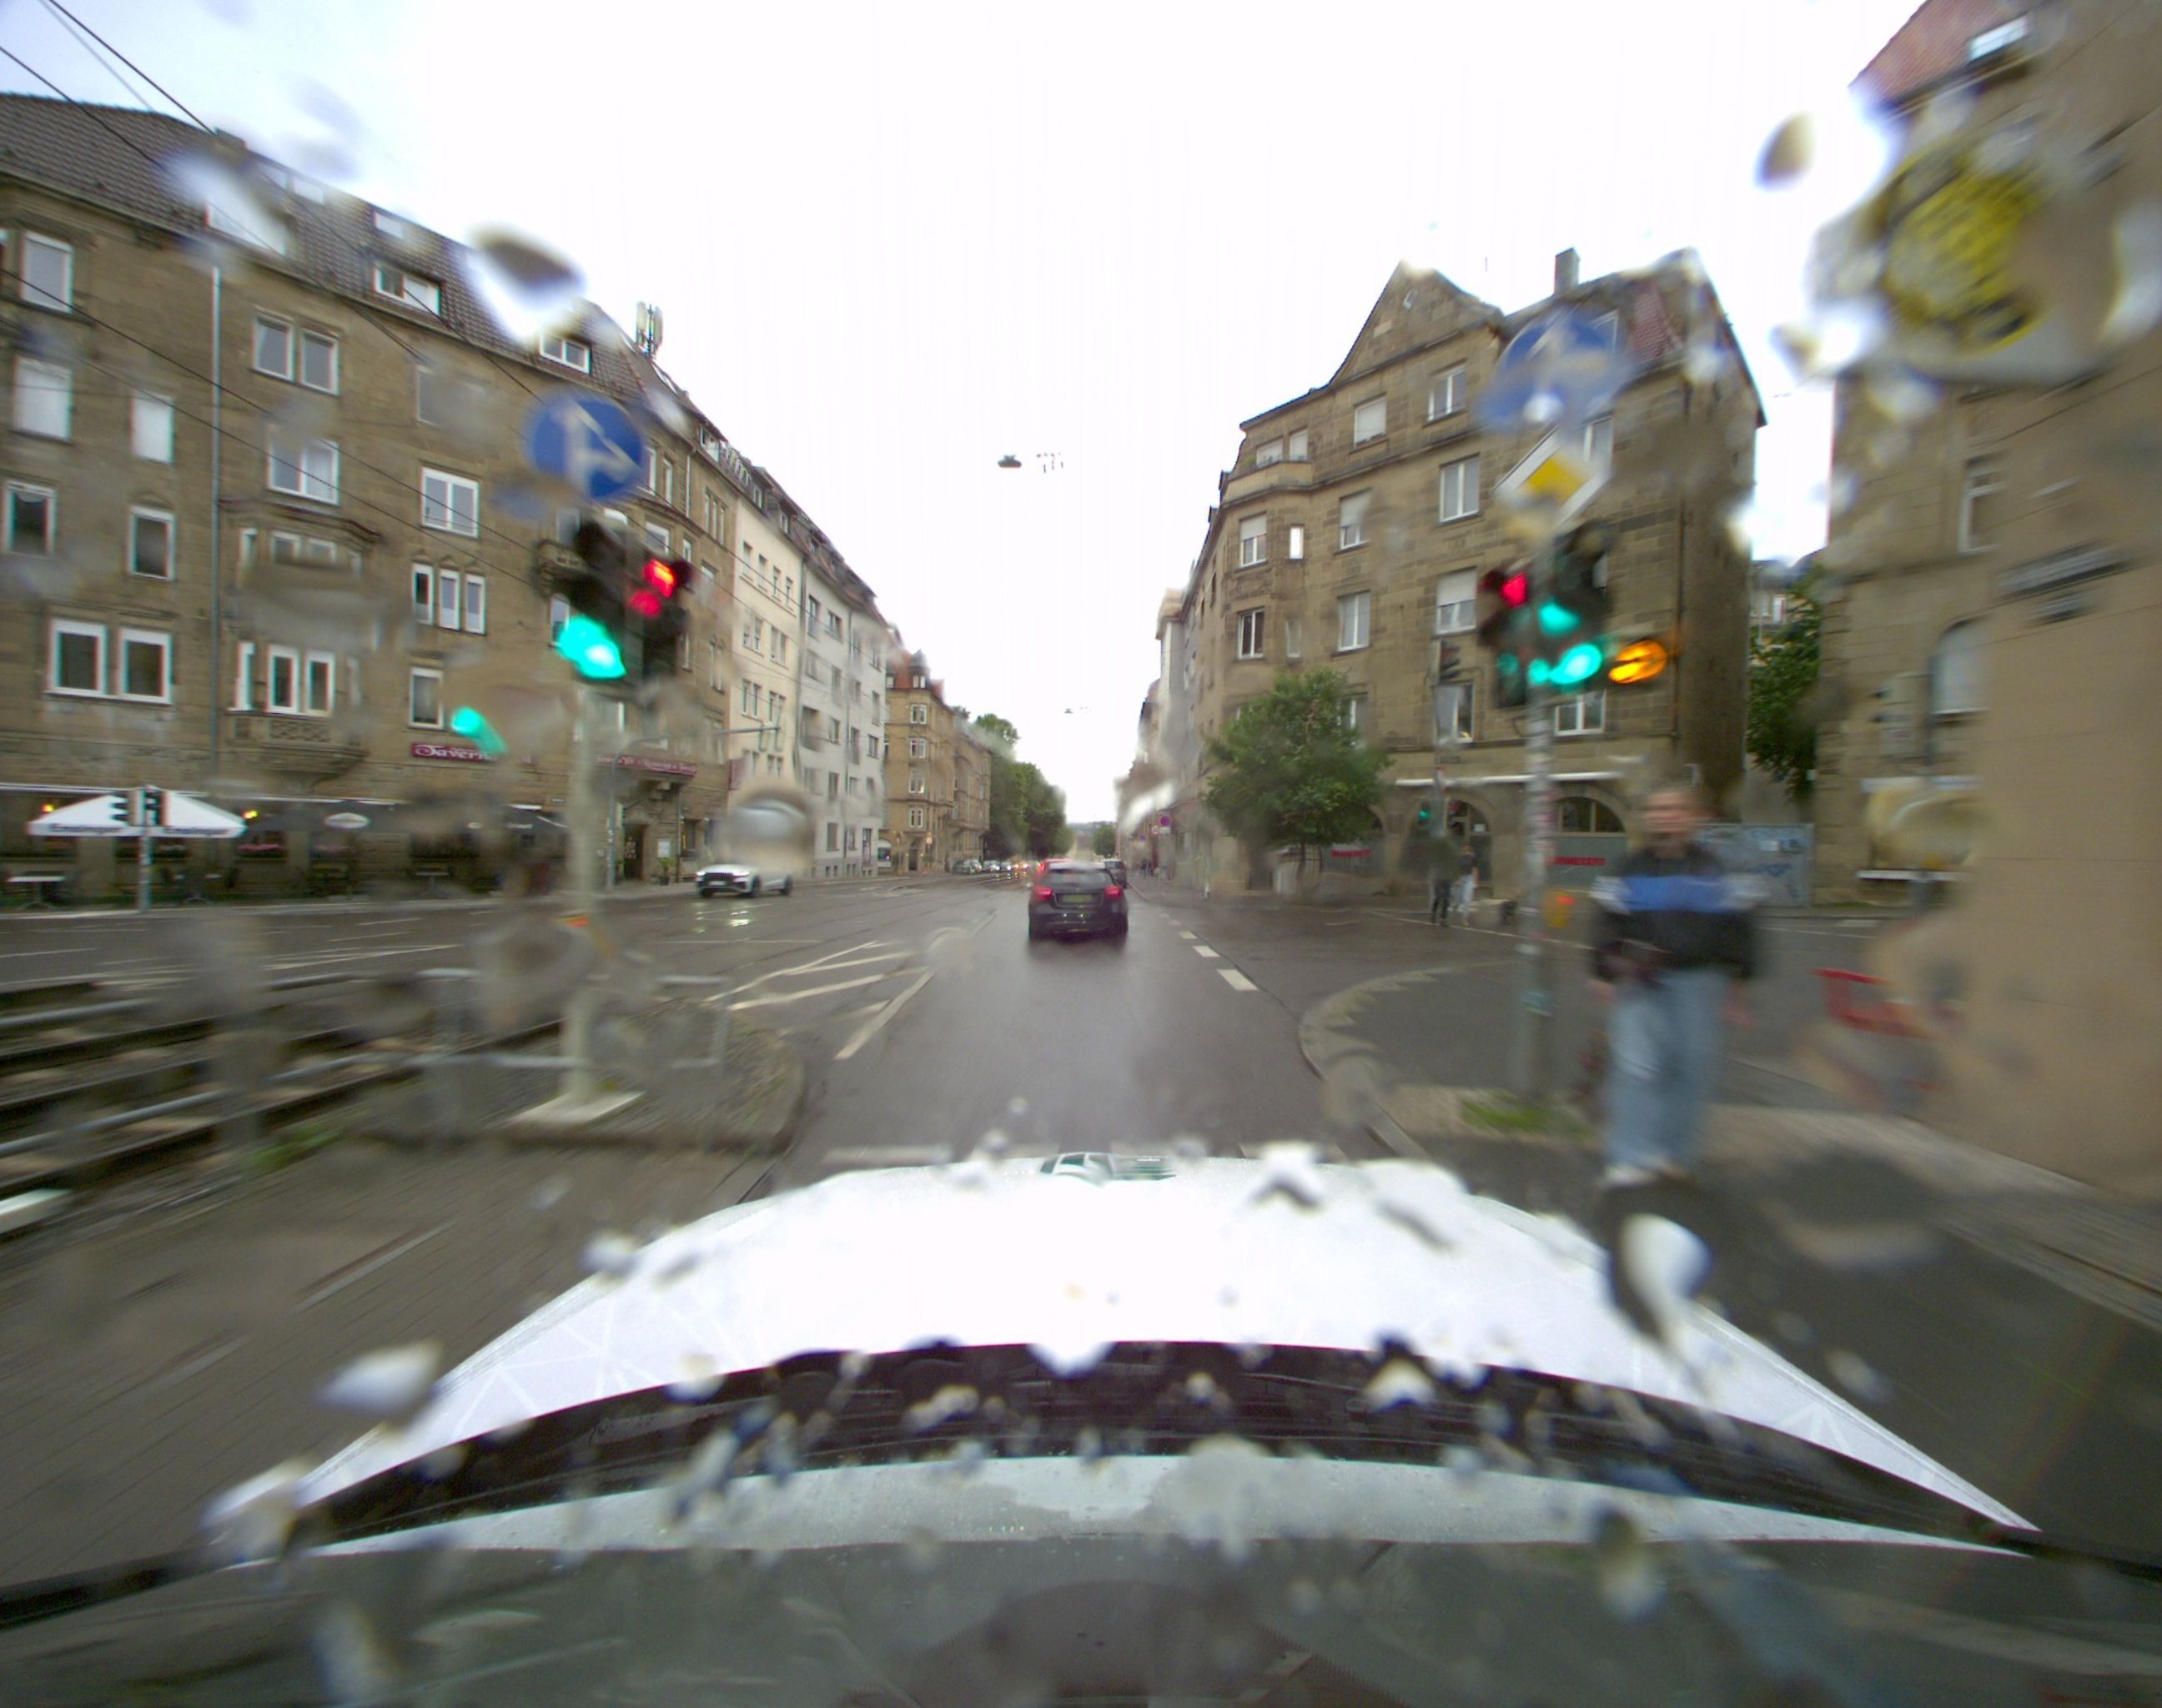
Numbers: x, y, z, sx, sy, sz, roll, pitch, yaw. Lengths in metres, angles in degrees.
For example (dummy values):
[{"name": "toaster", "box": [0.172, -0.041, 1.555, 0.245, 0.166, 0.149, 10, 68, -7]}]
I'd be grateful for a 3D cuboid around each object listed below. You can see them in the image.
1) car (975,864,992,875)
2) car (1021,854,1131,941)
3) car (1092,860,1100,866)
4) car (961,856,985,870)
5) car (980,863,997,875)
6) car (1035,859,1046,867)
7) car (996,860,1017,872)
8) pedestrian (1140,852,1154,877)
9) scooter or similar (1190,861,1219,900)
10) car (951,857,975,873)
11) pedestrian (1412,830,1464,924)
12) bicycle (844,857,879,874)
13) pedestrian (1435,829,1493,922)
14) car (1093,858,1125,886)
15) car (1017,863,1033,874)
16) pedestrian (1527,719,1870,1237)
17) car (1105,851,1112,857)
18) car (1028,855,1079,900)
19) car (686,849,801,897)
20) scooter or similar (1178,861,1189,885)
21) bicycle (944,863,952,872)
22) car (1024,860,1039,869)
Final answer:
[{"name": "car", "box": [-11.948, 1.893, 99.938, 1.562, 1.316, 3.484, 0, -1, 3]}, {"name": "car", "box": [-0.031, 0.759, 15.886, 1.860, 1.452, 4.001, -1, 0, 1]}, {"name": "car", "box": [2.982, 1.766, 160.588, 1.607, 1.317, 4.001, 0, -1, 2]}, {"name": "car", "box": [-11.927, 0.988, 90.272, 1.798, 1.597, 4.529, 0, -1, 3]}, {"name": "car", "box": [-11.831, 1.891, 104.241, 1.562, 1.413, 3.484, 0, -1, 3]}, {"name": "car", "box": [-7.578, 1.725, 153.001, 1.688, 1.388, 3.484, 0, -1, 3]}, {"name": "car", "box": [-8.837, 1.440, 96.654, 1.940, 1.397, 4.276, -1, -1, 2]}, {"name": "pedestrian", "box": [4.673, 0.731, 57.967, 0.942, 1.769, 1.015, 0, -1, 0]}, {"name": "scooter or similar", "box": [3.983, 0.827, 26.298, 0.636, 1.210, 1.551, 0, -1, -3]}, {"name": "car", "box": [-12.284, 1.129, 84.849, 1.715, 1.541, 3.937, 0, -1, 3]}, {"name": "pedestrian", "box": [7.042, 0.451, 16.101, 0.592, 1.788, 0.890, -1, -1, -2]}, {"name": "bicycle", "box": [-21.284, 1.077, 79.118, 3.146, 1.584, 1.593, 0, 2, -10]}, {"name": "pedestrian", "box": [7.588, 0.419, 16.175, 0.680, 1.788, 0.901, -1, -1, -2]}, {"name": "car", "box": [1.603, 1.000, 46.566, 1.759, 1.559, 4.747, 0, -1, 2]}, {"name": "car", "box": [-7.858, 2.006, 114.130, 1.672, 1.497, 3.524, 0, -1, 5]}, {"name": "pedestrian", "box": [2.531, 0.452, 3.513, 0.891, 1.840, 0.974, -3, -1, 24]}, {"name": "car", "box": [6.679, -0.070, 198.236, 1.607, 1.317, 4.001, 2, -1, 2]}, {"name": "car", "box": [-0.921, 0.794, 28.859, 1.644, 1.452, 3.998, 1, 0, -1]}, {"name": "car", "box": [-12.493, 0.672, 30.622, 1.986, 1.627, 5.255, 0, 0, 2]}, {"name": "scooter or similar", "box": [5.211, 0.950, 41.509, 0.394, 1.216, 1.107, 0, 0, 0]}, {"name": "bicycle", "box": [-14.023, 1.406, 86.051, 0.597, 1.000, 2.077, 0, -1, -3]}, {"name": "car", "box": [-7.587, 1.635, 125.139, 1.799, 1.361, 4.766, 0, 0, 3]}]
